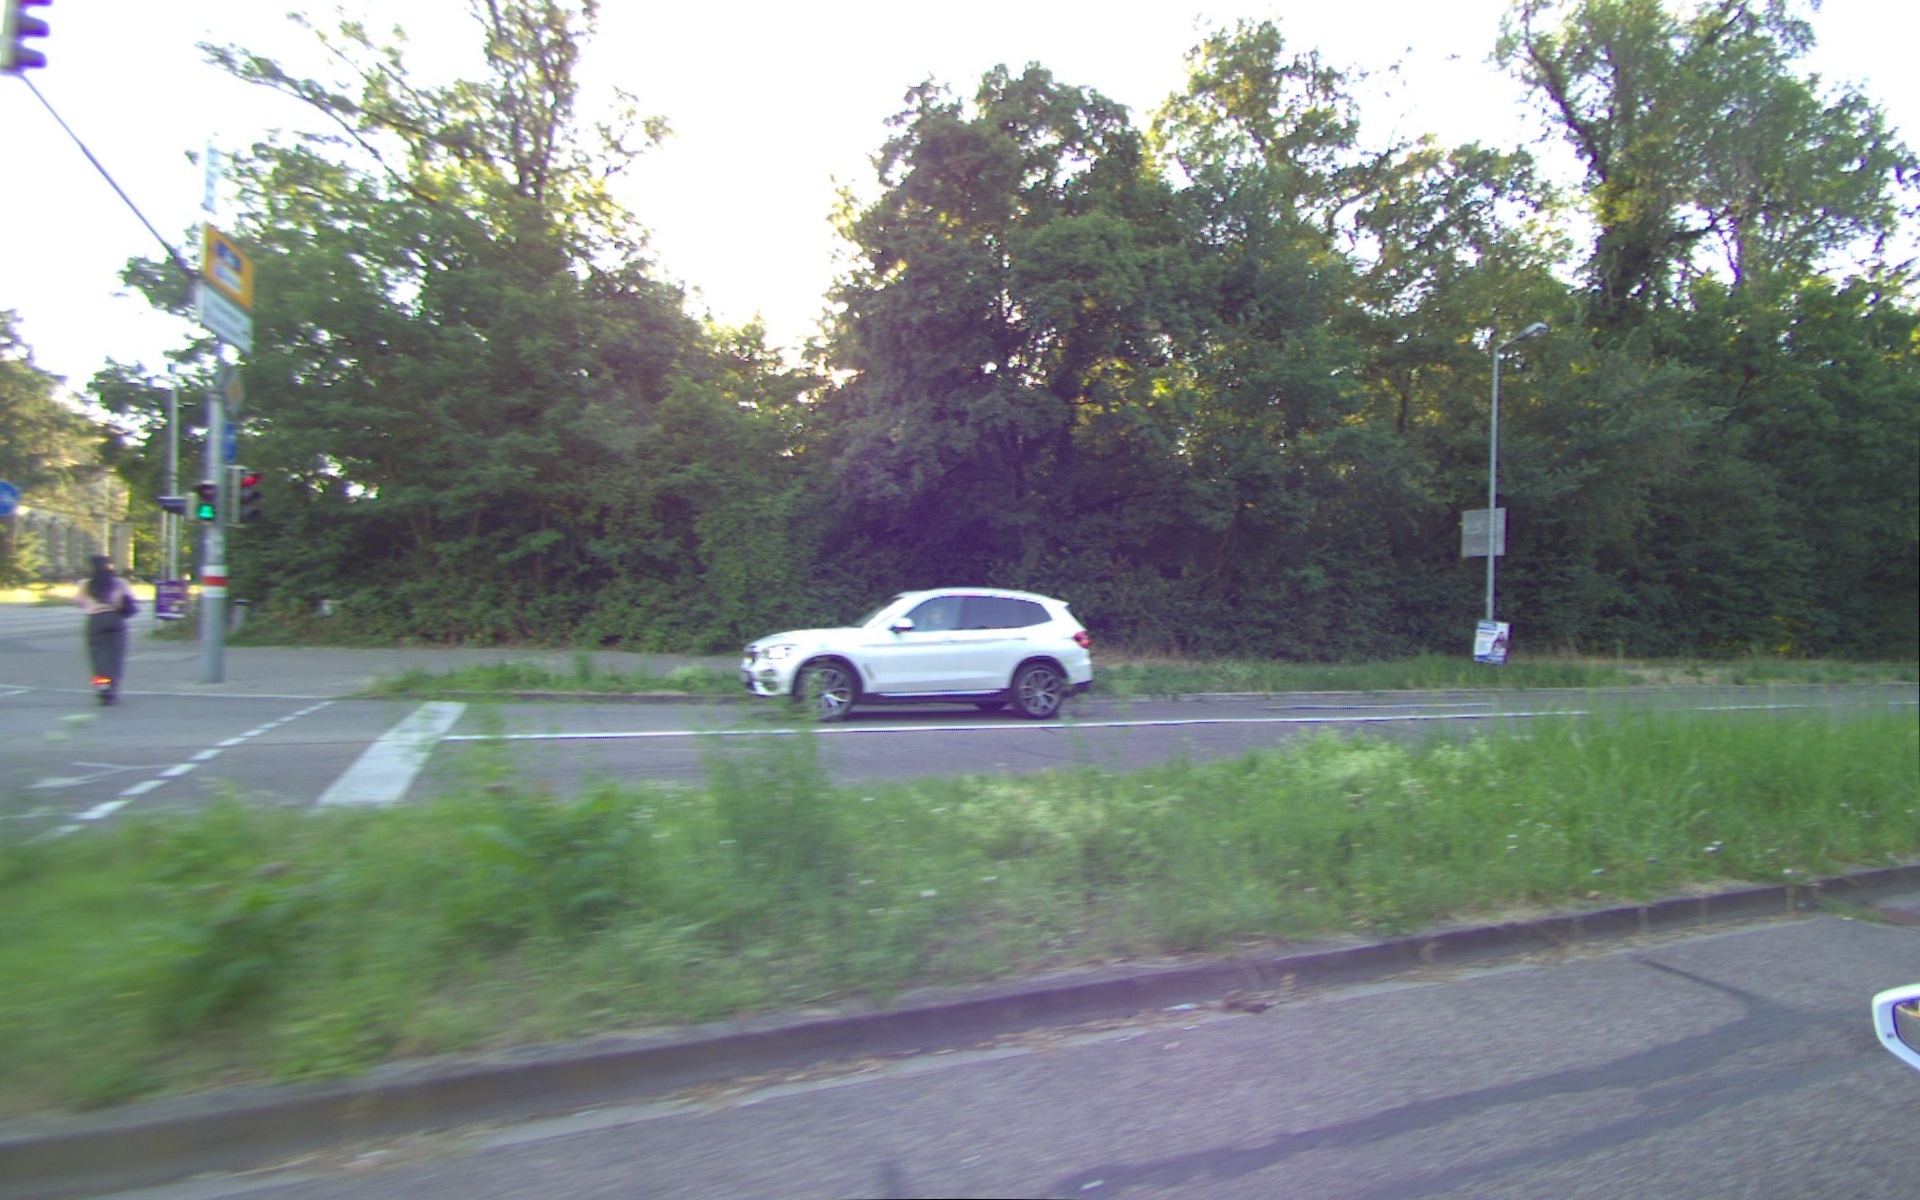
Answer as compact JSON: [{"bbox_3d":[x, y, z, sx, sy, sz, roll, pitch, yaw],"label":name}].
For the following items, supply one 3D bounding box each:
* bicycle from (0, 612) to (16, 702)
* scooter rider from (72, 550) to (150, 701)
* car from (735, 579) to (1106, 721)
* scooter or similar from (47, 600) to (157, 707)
[{"bbox_3d":[-11.024,0.648,10.837,0.764,1.020,1.999,2,-1,-30],"label":"bicycle"},{"bbox_3d":[-10.334,0.315,12.247,0.559,1.790,0.502,1,0,-23],"label":"scooter rider"},{"bbox_3d":[-0.524,0.673,13.291,4.572,1.634,1.819,2,-2,-21],"label":"car"},{"bbox_3d":[-10.262,0.616,12.063,0.555,1.205,1.414,2,-1,-22],"label":"scooter or similar"}]
